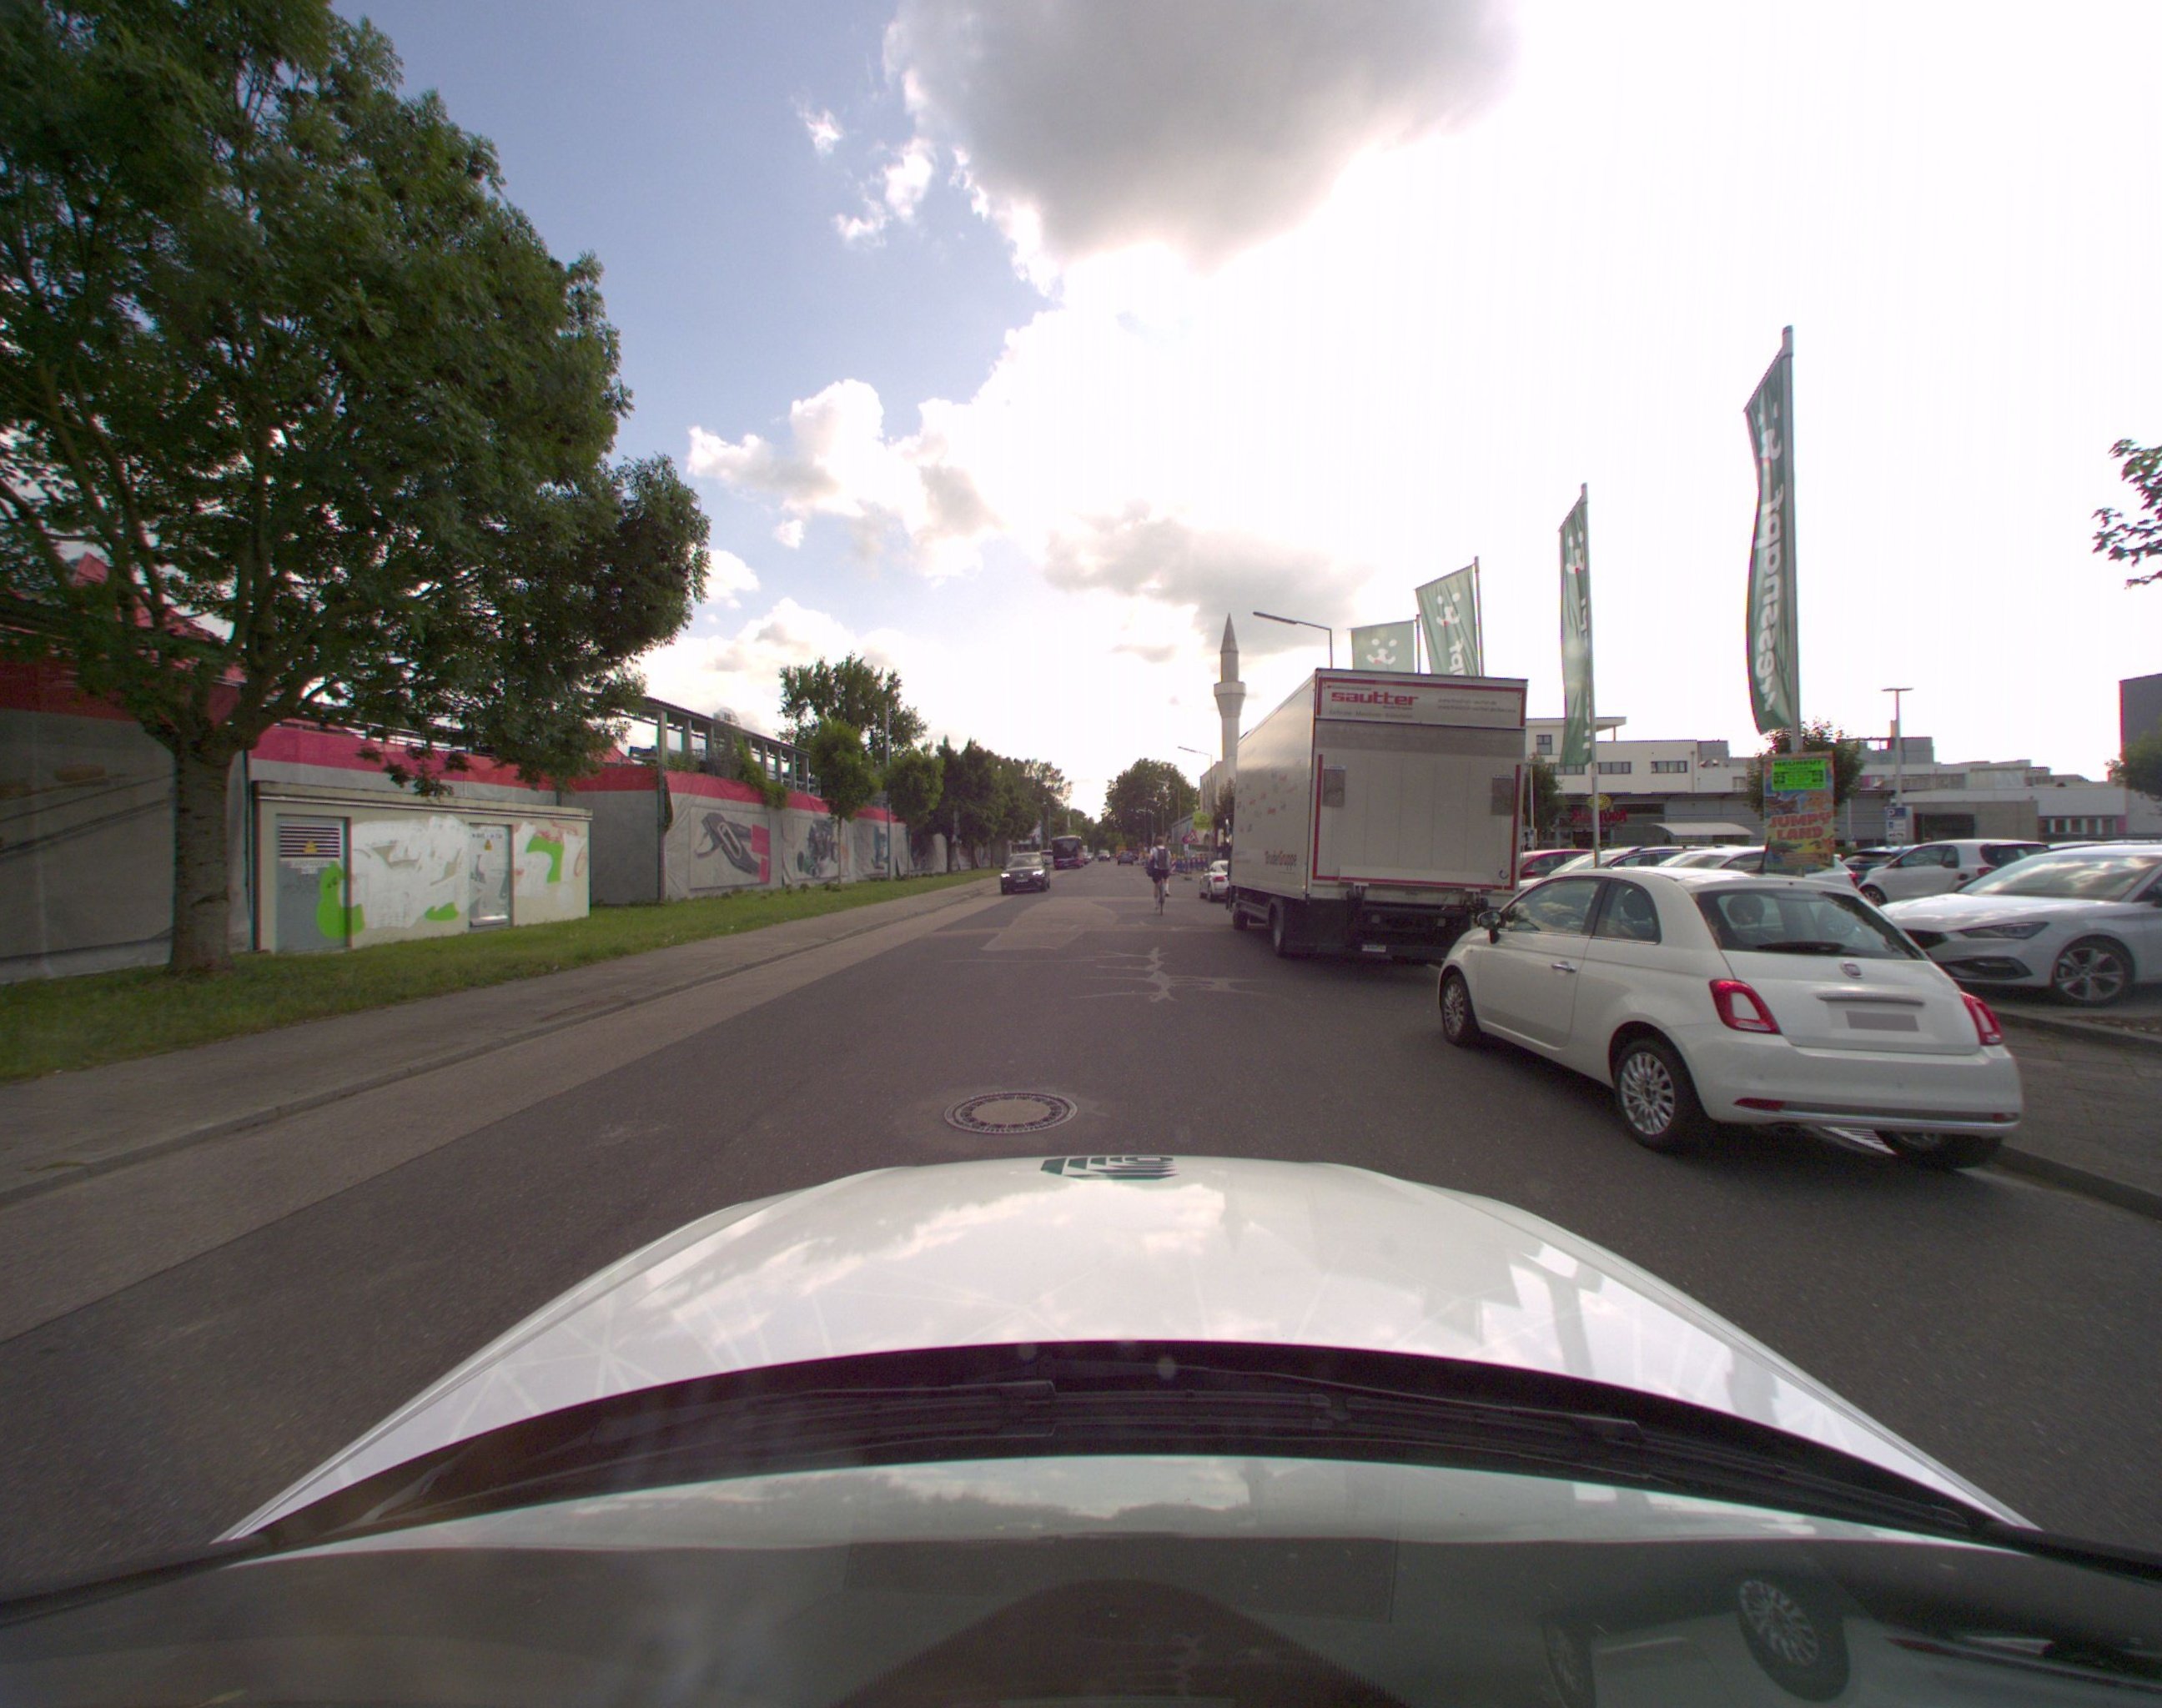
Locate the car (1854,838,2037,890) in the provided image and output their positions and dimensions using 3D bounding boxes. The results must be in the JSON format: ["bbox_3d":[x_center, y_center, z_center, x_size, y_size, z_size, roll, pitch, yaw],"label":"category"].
[{"bbox_3d":[27.171,0.307,25.681,3.997,1.484,1.724,-2,0,-1],"label":"car"}]

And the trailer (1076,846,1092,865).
[{"bbox_3d":[0.483,0.213,126.070,2.131,2.783,4.705,-3,0,2],"label":"trailer"}]

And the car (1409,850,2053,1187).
[{"bbox_3d":[3.751,0.762,5.593,1.540,1.511,3.626,2,0,1],"label":"car"}]

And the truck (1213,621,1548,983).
[{"bbox_3d":[4.139,-0.615,13.590,2.767,4.116,8.284,2,0,2],"label":"truck"}]

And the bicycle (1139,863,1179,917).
[{"bbox_3d":[1.868,0.830,19.799,0.795,1.180,2.628,1,0,2],"label":"bicycle"}]

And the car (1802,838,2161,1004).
[{"bbox_3d":[10.446,0.584,8.337,4.465,1.437,1.859,-2,0,1],"label":"car"}]

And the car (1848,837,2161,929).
[{"bbox_3d":[17.160,0.483,15.454,1.713,1.519,3.752,0,0,0],"label":"car"}]

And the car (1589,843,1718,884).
[{"bbox_3d":[23.116,0.362,32.974,4.046,1.484,1.724,-2,0,-1],"label":"car"}]

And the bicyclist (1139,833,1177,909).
[{"bbox_3d":[1.865,0.404,19.805,0.803,1.792,1.207,1,-1,2],"label":"bicyclist"}]

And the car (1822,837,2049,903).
[{"bbox_3d":[21.509,0.374,20.609,3.969,1.484,1.740,-2,0,-1],"label":"car"}]

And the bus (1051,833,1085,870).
[{"bbox_3d":[-1.230,-0.241,86.173,2.652,3.422,13.226,-4,0,3],"label":"bus"}]

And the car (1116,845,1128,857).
[{"bbox_3d":[8.962,-0.748,178.811,2.191,2.578,6.404,-1,0,0],"label":"car"}]

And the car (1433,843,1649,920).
[{"bbox_3d":[10.229,0.579,18.290,3.875,1.522,1.747,-2,0,-3],"label":"car"}]

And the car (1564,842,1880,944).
[{"bbox_3d":[10.308,0.581,13.280,3.875,1.432,1.747,-2,0,-3],"label":"car"}]

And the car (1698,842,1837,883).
[{"bbox_3d":[27.393,0.337,32.566,4.105,1.484,1.724,-2,0,-1],"label":"car"}]

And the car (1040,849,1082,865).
[{"bbox_3d":[-2.544,0.362,102.399,4.972,1.949,1.997,-1,0,8],"label":"car"}]

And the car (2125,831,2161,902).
[{"bbox_3d":[26.101,0.223,17.928,4.045,1.578,1.740,-2,0,-1],"label":"car"}]

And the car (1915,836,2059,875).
[{"bbox_3d":[38.222,0.044,34.419,4.172,1.484,1.724,-2,0,-1],"label":"car"}]

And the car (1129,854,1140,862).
[{"bbox_3d":[9.952,0.799,151.468,1.800,1.391,4.593,2,0,4],"label":"car"}]

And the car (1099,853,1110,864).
[{"bbox_3d":[3.827,0.697,133.205,1.861,1.630,4.129,-1,0,2],"label":"car"}]

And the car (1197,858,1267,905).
[{"bbox_3d":[4.921,0.843,27.054,1.655,1.340,3.987,3,0,2],"label":"car"}]

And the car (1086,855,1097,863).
[{"bbox_3d":[2.112,0.974,161.638,1.702,1.420,4.336,-3,0,4],"label":"car"}]

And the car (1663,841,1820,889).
[{"bbox_3d":[22.409,0.358,27.723,3.982,1.484,1.724,-2,0,-1],"label":"car"}]

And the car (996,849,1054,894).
[{"bbox_3d":[-2.308,0.688,34.481,1.867,1.620,4.296,-5,0,2],"label":"car"}]

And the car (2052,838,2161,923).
[{"bbox_3d":[21.265,0.427,15.350,3.923,1.484,1.724,-2,0,-1],"label":"car"}]

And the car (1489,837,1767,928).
[{"bbox_3d":[10.438,0.515,15.725,4.276,1.542,1.747,-2,0,-4],"label":"car"}]

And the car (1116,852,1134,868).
[{"bbox_3d":[5.222,0.684,97.489,1.955,1.815,4.276,-1,0,1],"label":"car"}]
